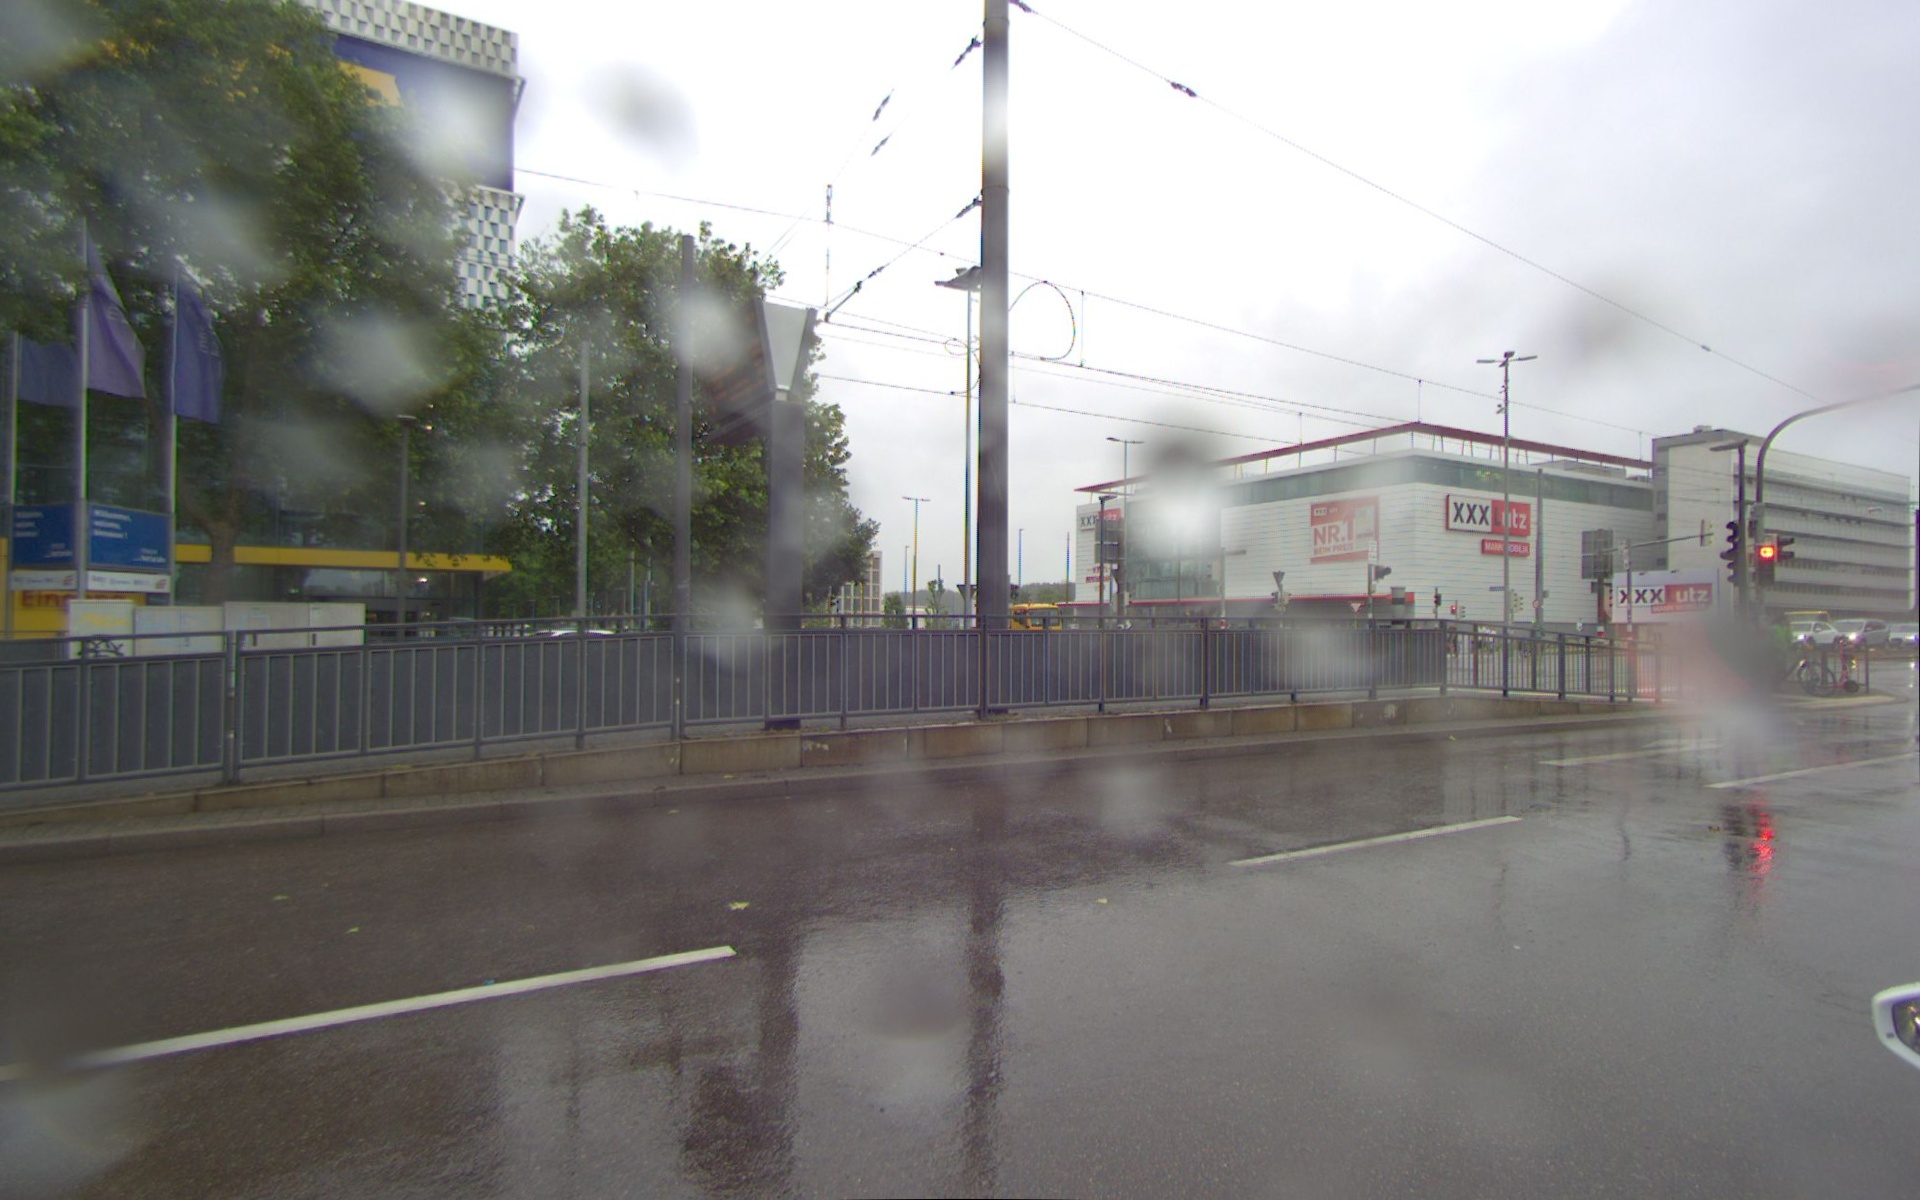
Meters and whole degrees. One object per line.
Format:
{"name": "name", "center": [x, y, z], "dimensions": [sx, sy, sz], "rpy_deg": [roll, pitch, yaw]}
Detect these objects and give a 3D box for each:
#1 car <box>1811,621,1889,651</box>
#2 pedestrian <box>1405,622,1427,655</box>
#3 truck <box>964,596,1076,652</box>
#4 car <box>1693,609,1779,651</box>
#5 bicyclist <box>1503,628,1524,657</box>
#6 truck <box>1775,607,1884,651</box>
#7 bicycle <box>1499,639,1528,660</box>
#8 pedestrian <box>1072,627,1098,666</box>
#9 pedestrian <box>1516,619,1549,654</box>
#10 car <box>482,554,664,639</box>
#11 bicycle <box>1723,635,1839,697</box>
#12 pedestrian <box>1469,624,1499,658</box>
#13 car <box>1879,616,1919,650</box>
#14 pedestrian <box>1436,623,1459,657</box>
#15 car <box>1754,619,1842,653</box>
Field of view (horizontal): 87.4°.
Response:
{"name": "car", "center": [44.844, 1.808, 50.607], "dimensions": [3.780, 1.354, 1.582], "rpy_deg": [2, 0, -26]}
{"name": "pedestrian", "center": [23.267, 1.963, 51.245], "dimensions": [0.914, 1.654, 0.694], "rpy_deg": [2, 0, -42]}
{"name": "truck", "center": [3.194, 1.262, 55.730], "dimensions": [2.612, 2.853, 7.084], "rpy_deg": [2, 0, -31]}
{"name": "car", "center": [40.402, 1.545, 52.294], "dimensions": [3.947, 2.040, 1.987], "rpy_deg": [2, 0, -26]}
{"name": "bicyclist", "center": [28.298, 2.166, 51.323], "dimensions": [0.639, 1.483, 0.681], "rpy_deg": [2, 0, -29]}
{"name": "truck", "center": [49.610, 1.671, 57.259], "dimensions": [7.542, 2.309, 2.341], "rpy_deg": [2, 0, -30]}
{"name": "bicycle", "center": [28.300, 2.532, 51.352], "dimensions": [1.688, 1.000, 0.448], "rpy_deg": [2, 0, -30]}
{"name": "pedestrian", "center": [5.075, 1.886, 40.899], "dimensions": [0.863, 1.557, 0.560], "rpy_deg": [2, 0, -31]}
{"name": "pedestrian", "center": [27.540, 1.758, 48.343], "dimensions": [0.996, 1.654, 0.917], "rpy_deg": [2, 0, -19]}
{"name": "car", "center": [-10.034, -0.054, 26.186], "dimensions": [3.968, 2.040, 1.976], "rpy_deg": [2, 0, -41]}
{"name": "bicycle", "center": [16.714, 1.324, 20.488], "dimensions": [0.409, 1.048, 1.742], "rpy_deg": [2, 3, -31]}
{"name": "pedestrian", "center": [26.653, 2.096, 51.099], "dimensions": [1.063, 1.654, 1.027], "rpy_deg": [2, 0, 10]}
{"name": "car", "center": [51.185, 1.773, 53.554], "dimensions": [3.947, 1.722, 1.886], "rpy_deg": [2, 0, -26]}
{"name": "pedestrian", "center": [24.303, 1.983, 50.045], "dimensions": [0.914, 1.654, 0.694], "rpy_deg": [2, 0, -42]}
{"name": "car", "center": [39.793, 1.709, 47.698], "dimensions": [3.823, 1.512, 1.693], "rpy_deg": [2, 0, -25]}
